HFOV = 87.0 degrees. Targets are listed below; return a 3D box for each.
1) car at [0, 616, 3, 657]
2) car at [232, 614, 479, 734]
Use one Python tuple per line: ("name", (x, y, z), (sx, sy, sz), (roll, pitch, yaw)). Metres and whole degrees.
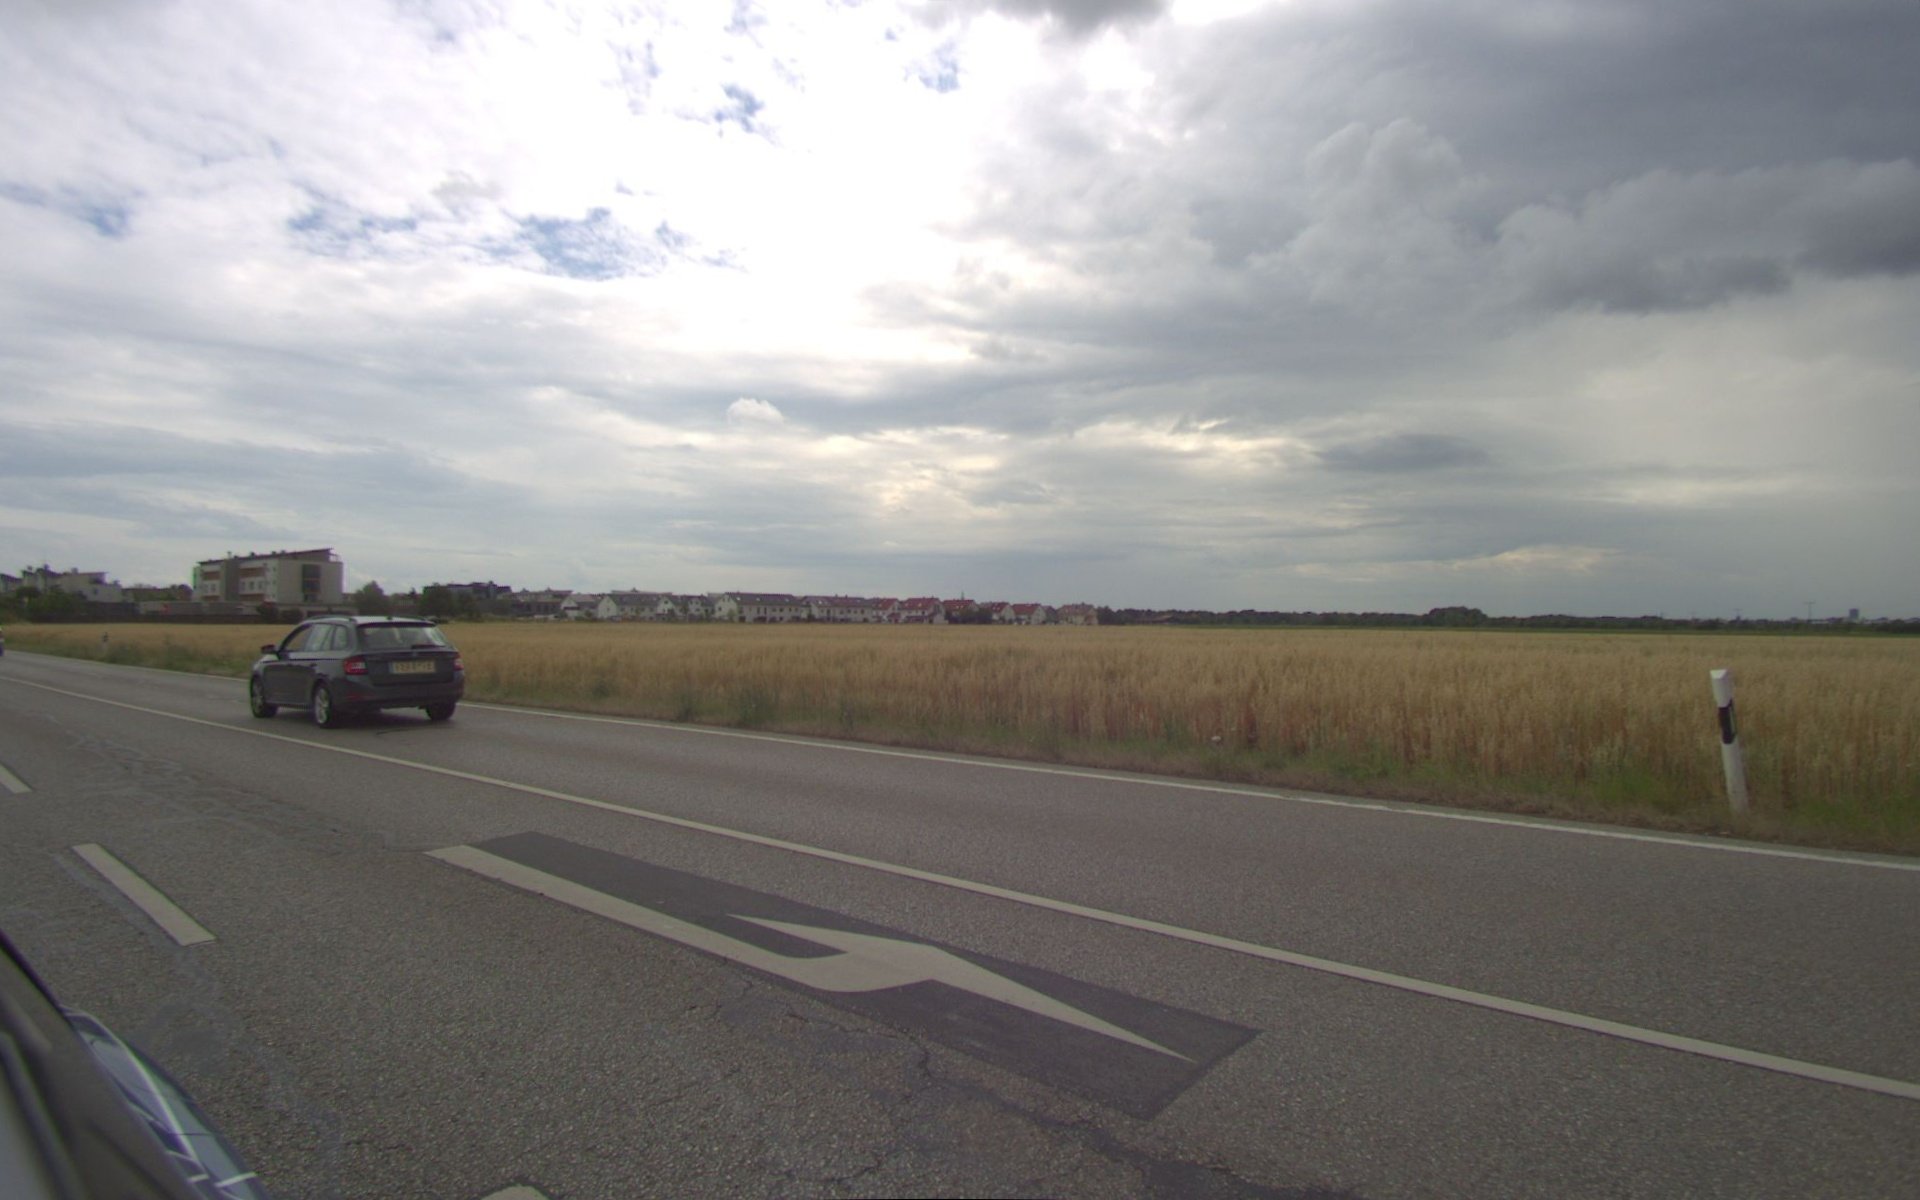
("car", (-37.718, 1.356, 38.113), (4.259, 1.500, 1.833), (-1, -2, 39))
("car", (-8.697, 0.952, 14.433), (4.127, 1.469, 1.718), (-1, -2, 39))
